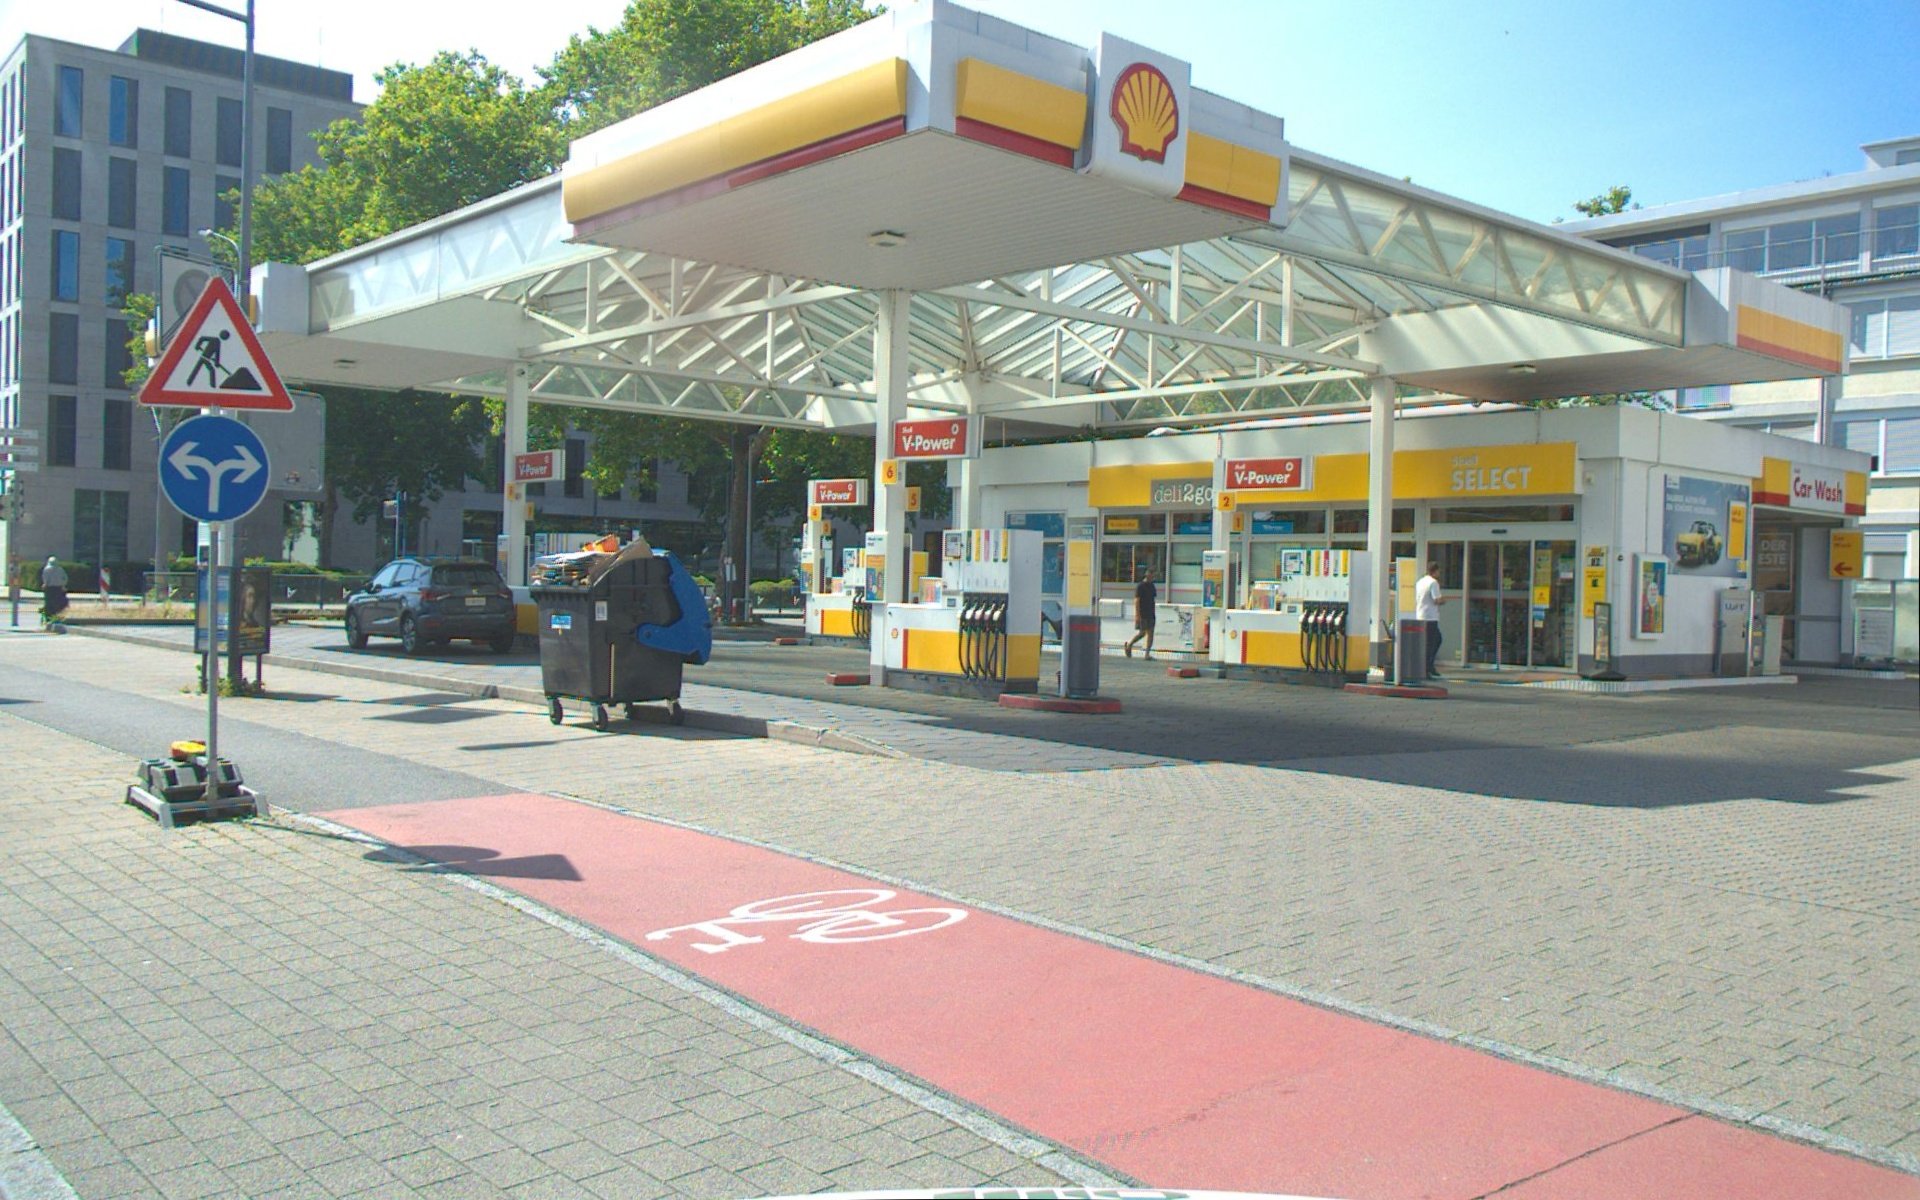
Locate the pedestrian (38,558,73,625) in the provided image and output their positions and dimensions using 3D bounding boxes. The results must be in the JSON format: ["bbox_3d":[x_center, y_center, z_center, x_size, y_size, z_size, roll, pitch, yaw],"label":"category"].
[{"bbox_3d":[-21.482,-0.211,39.277,0.615,1.570,0.454,2,0,-42],"label":"pedestrian"}]

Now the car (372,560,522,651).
[{"bbox_3d":[-8.661,0.074,27.754,1.633,1.422,3.605,1,0,-30],"label":"car"}]

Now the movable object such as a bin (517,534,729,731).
[{"bbox_3d":[-2.975,0.239,14.585,1.301,1.619,1.374,-2,2,-43],"label":"movable object such as a bin"}]

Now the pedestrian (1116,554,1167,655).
[{"bbox_3d":[3.393,0.085,30.955,0.667,1.853,0.623,1,0,-34],"label":"pedestrian"}]

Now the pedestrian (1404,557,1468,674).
[{"bbox_3d":[7.792,0.242,27.074,0.839,1.870,0.744,1,0,27],"label":"pedestrian"}]
